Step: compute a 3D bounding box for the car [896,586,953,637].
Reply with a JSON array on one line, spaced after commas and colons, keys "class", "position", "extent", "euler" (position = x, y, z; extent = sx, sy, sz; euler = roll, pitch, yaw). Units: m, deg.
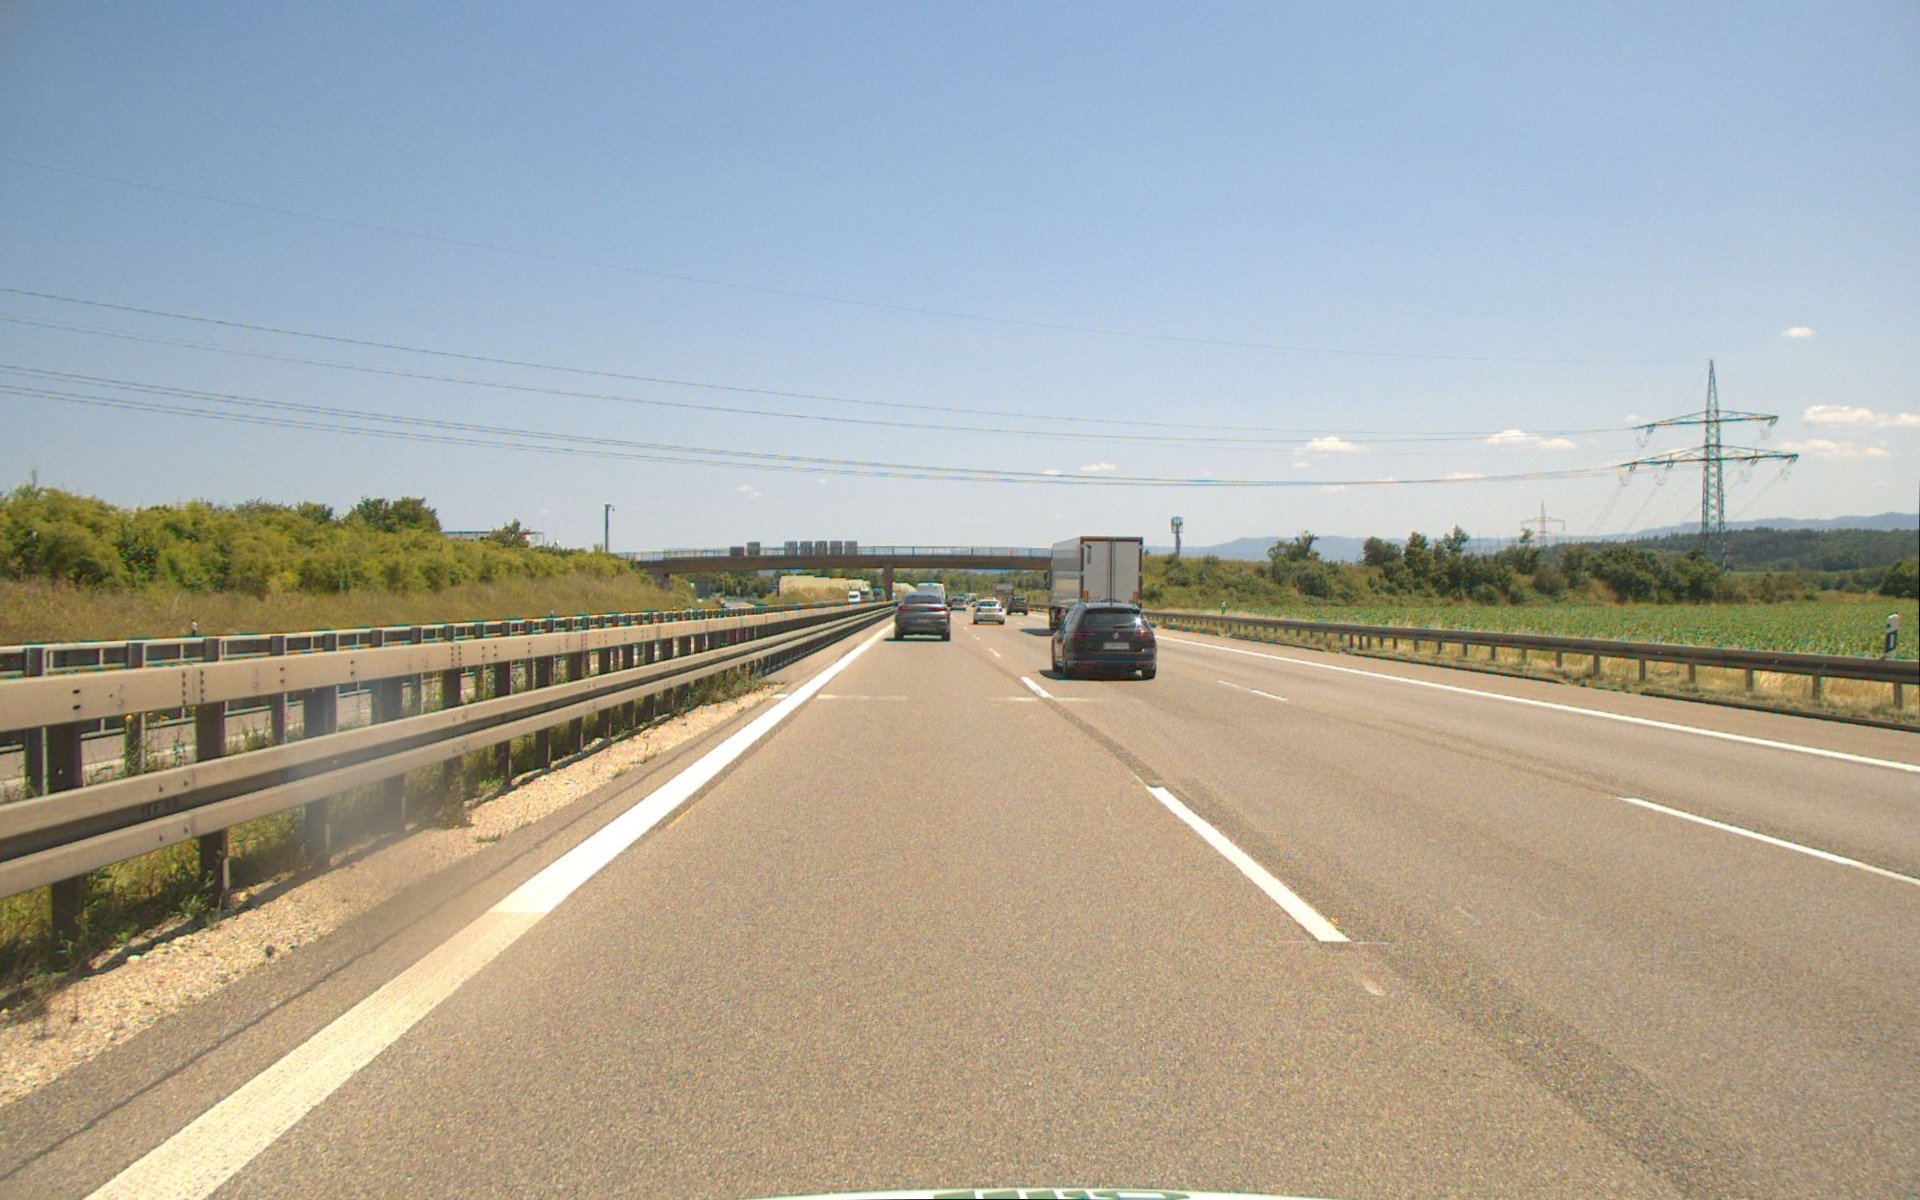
[{"class": "car", "position": [-1.292, 0.396, 58.092], "extent": [1.815, 1.693, 3.732], "euler": [1, 0, -4]}]

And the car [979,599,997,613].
[{"class": "car", "position": [3.434, 0.725, 202.886], "extent": [1.953, 1.712, 3.999], "euler": [1, 0, -1]}]

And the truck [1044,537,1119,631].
[{"class": "truck", "position": [5.799, -0.742, 80.052], "extent": [2.919, 4.301, 7.685], "euler": [1, 0, -1]}]

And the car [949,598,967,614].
[{"class": "car", "position": [-0.248, 0.621, 183.241], "extent": [1.953, 1.712, 3.999], "euler": [1, 0, -1]}]

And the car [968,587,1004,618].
[{"class": "car", "position": [1.489, 0.151, 95.770], "extent": [1.953, 1.712, 3.999], "euler": [1, 0, -1]}]

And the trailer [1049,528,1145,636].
[{"class": "trailer", "position": [5.882, -0.710, 73.241], "extent": [2.883, 4.271, 13.593], "euler": [1, 0, -1]}]

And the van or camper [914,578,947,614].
[{"class": "van or camper", "position": [-1.912, -0.280, 107.599], "extent": [2.068, 2.250, 5.264], "euler": [1, 0, -1]}]

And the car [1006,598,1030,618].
[{"class": "car", "position": [5.171, 0.724, 148.916], "extent": [1.953, 1.712, 3.999], "euler": [1, 0, -1]}]

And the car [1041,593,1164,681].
[{"class": "car", "position": [2.755, 0.681, 33.052], "extent": [1.894, 1.602, 4.933], "euler": [1, 0, -1]}]
